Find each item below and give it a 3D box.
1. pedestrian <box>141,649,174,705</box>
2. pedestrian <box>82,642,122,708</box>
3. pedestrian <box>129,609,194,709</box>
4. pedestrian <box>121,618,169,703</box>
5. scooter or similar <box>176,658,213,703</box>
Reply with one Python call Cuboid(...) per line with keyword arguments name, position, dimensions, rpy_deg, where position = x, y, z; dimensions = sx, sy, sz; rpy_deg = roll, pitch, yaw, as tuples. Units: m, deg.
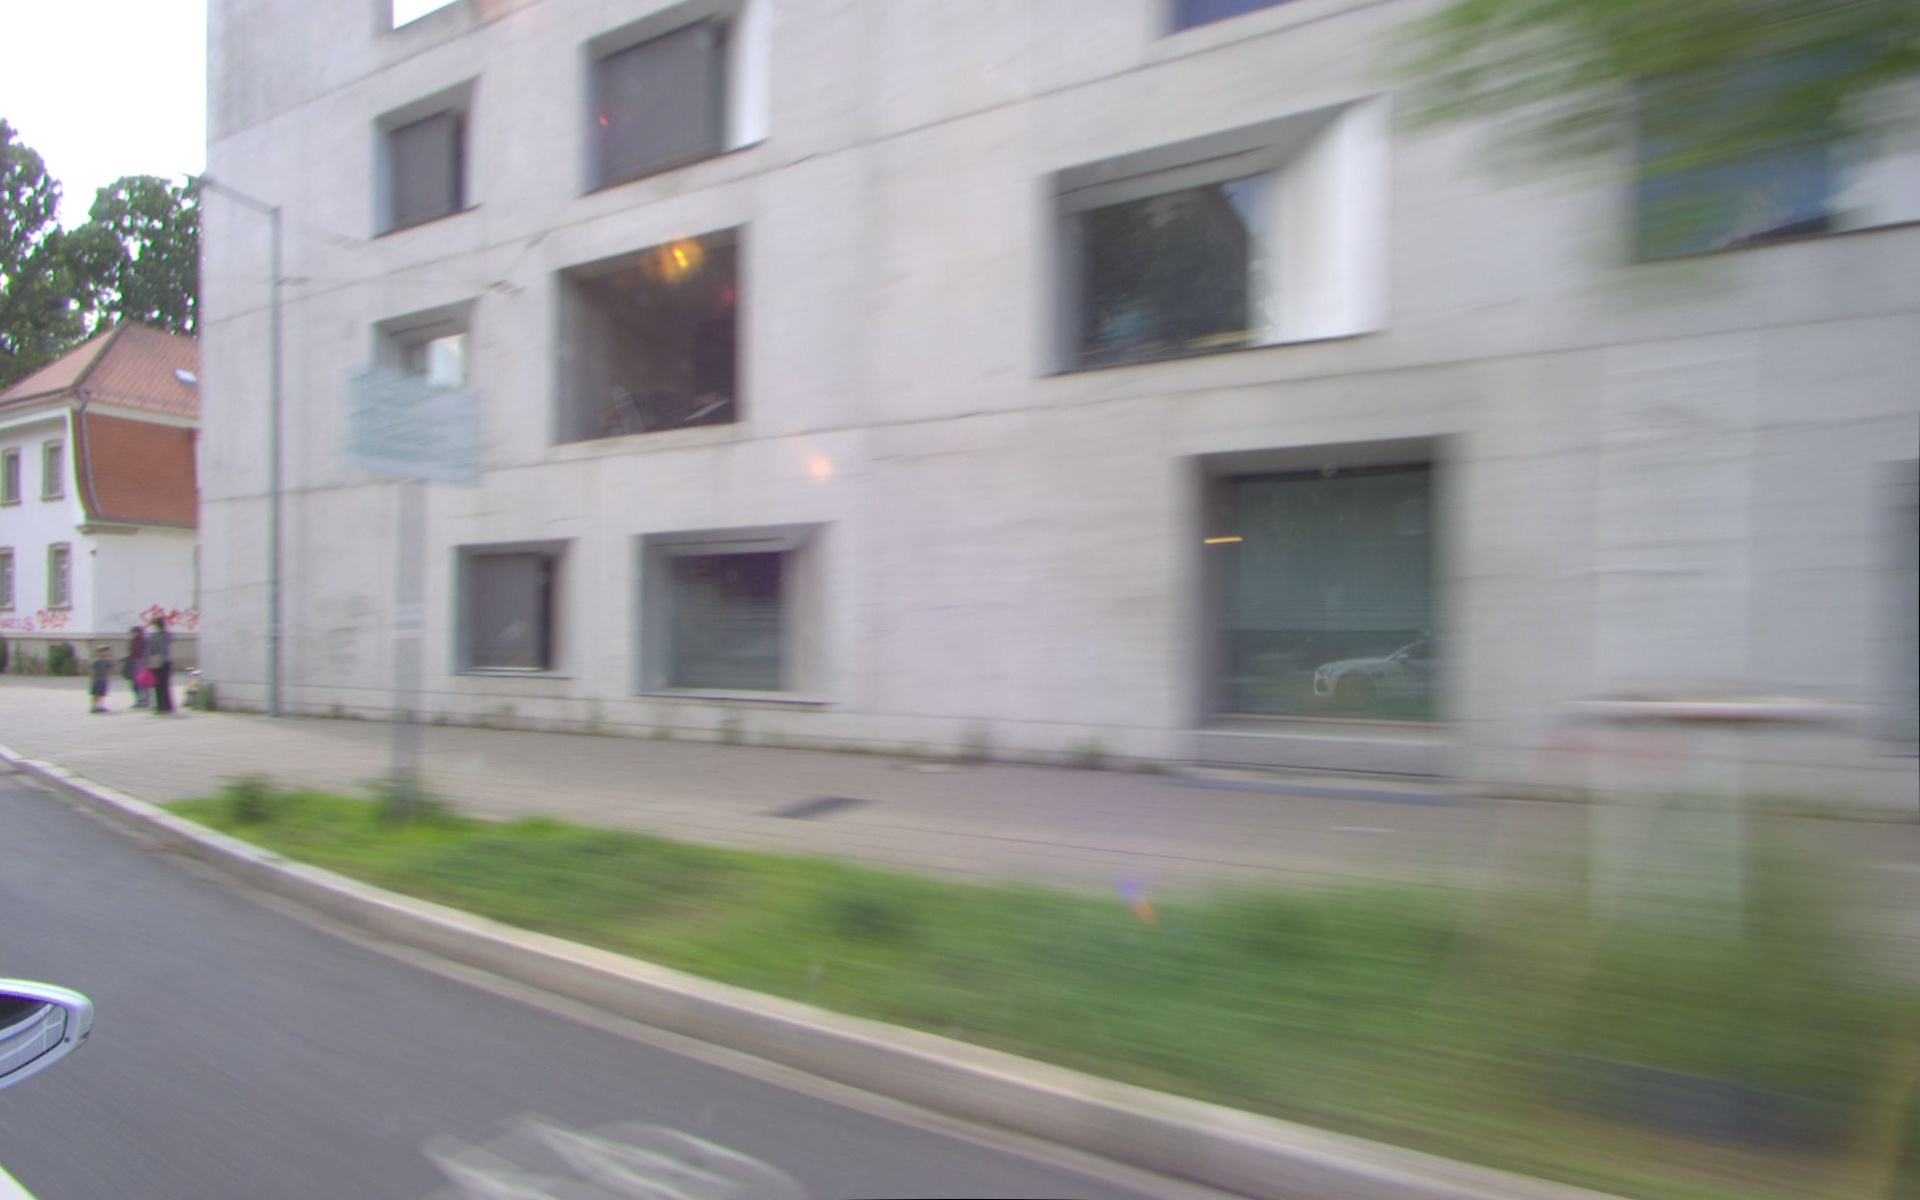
Cuboid(name="pedestrian", position=(-15.311, 1.470, 19.105), dimensions=(0.390, 1.024, 0.343), rpy_deg=(1, 1, 19))
Cuboid(name="pedestrian", position=(-16.262, 1.416, 18.989), dimensions=(0.398, 1.217, 0.422), rpy_deg=(1, 1, -3))
Cuboid(name="pedestrian", position=(-14.549, 1.049, 18.249), dimensions=(0.735, 1.747, 0.684), rpy_deg=(1, 1, 27))
Cuboid(name="pedestrian", position=(-15.845, 1.165, 19.476), dimensions=(0.539, 1.601, 0.520), rpy_deg=(1, 1, 18))
Cuboid(name="scooter or similar", position=(-14.877, 1.556, 19.474), dimensions=(0.262, 0.812, 0.550), rpy_deg=(1, 2, 5))
